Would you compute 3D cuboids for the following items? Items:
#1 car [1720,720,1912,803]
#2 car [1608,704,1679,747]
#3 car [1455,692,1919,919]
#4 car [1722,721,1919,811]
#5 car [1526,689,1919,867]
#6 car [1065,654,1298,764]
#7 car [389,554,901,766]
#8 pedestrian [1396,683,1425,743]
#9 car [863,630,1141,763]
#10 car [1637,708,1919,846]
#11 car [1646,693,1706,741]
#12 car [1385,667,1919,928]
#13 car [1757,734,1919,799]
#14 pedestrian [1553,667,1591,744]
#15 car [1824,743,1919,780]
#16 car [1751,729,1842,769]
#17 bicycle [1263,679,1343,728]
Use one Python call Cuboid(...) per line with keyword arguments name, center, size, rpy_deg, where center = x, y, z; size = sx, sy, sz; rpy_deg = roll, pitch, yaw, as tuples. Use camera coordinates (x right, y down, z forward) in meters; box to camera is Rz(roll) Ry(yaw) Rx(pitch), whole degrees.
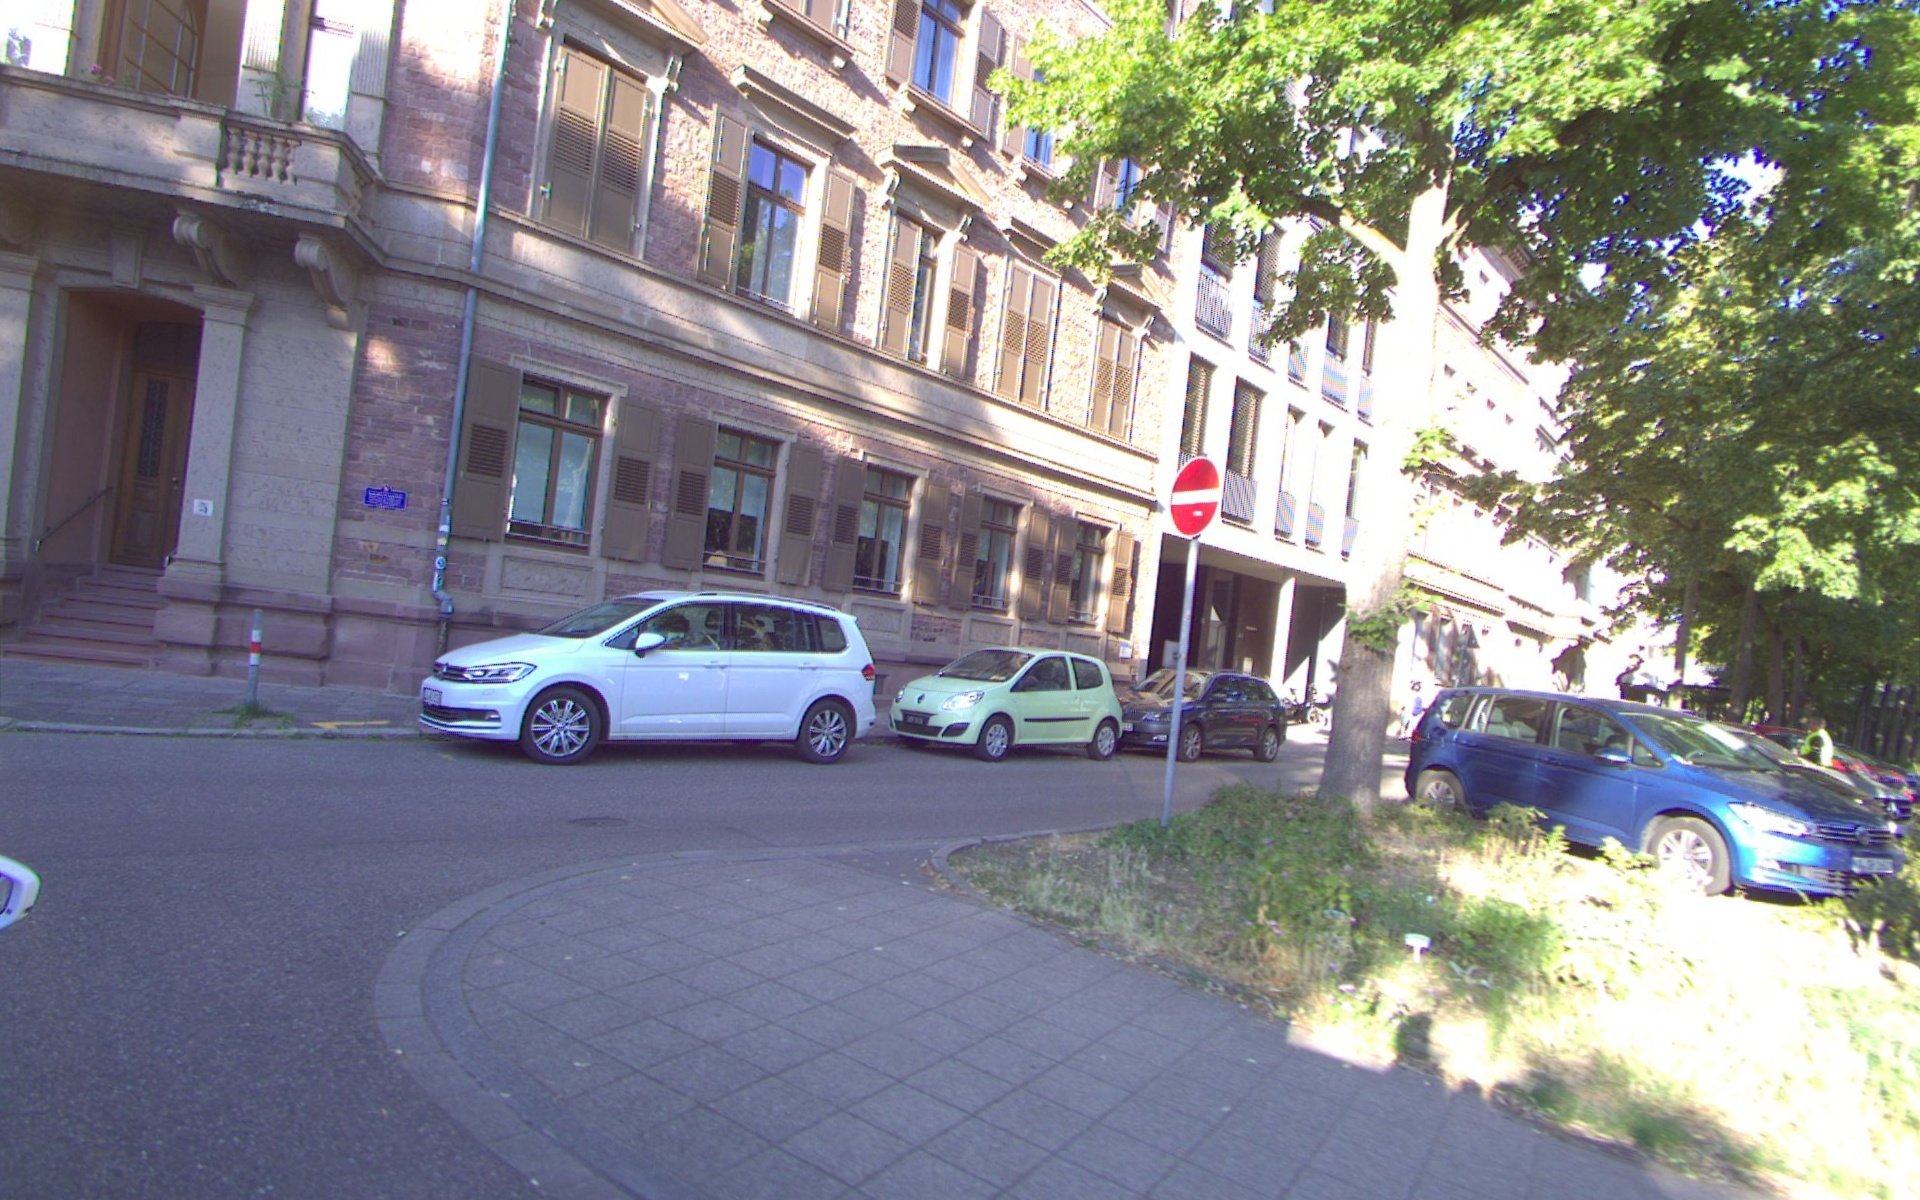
Cuboid(name="car", center=(26.661, 4.980, 31.555), size=(1.780, 1.715, 4.273), rpy_deg=(8, -1, -11))
Cuboid(name="car", center=(31.576, 5.793, 46.428), size=(1.973, 1.586, 4.591), rpy_deg=(7, -1, 42))
Cuboid(name="car", center=(8.595, 2.294, 12.306), size=(1.900, 1.654, 4.539), rpy_deg=(8, -1, -14))
Cuboid(name="car", center=(22.647, 4.280, 26.162), size=(1.780, 1.505, 4.273), rpy_deg=(8, -1, -11))
Cuboid(name="car", center=(10.574, 2.337, 14.070), size=(1.900, 1.505, 4.539), rpy_deg=(8, -1, -14))
Cuboid(name="car", center=(3.793, 1.853, 16.813), size=(4.139, 1.506, 1.722), rpy_deg=(9, -4, -44))
Cuboid(name="car", center=(-2.945, 0.692, 10.137), size=(4.472, 1.668, 1.853), rpy_deg=(9, -4, -44))
Cuboid(name="pedestrian", center=(13.255, 3.328, 29.608), size=(0.522, 1.694, 0.425), rpy_deg=(7, 0, 39))
Cuboid(name="car", center=(0.680, 1.364, 13.885), size=(1.721, 1.506, 3.705), rpy_deg=(3, -4, 44))
Cuboid(name="car", center=(15.923, 3.323, 19.636), size=(1.895, 1.742, 4.549), rpy_deg=(8, -1, -5))
Cuboid(name="car", center=(39.024, 6.412, 54.797), size=(1.973, 2.198, 4.591), rpy_deg=(7, -1, 42))
Cuboid(name="car", center=(6.571, 1.732, 10.053), size=(1.716, 1.706, 4.407), rpy_deg=(7, -2, -17))
Cuboid(name="car", center=(28.837, 5.397, 32.730), size=(1.781, 1.294, 4.270), rpy_deg=(8, -1, -14))
Cuboid(name="pedestrian", center=(24.860, 4.271, 40.882), size=(0.908, 2.983, 0.697), rpy_deg=(7, 0, 42))
Cuboid(name="car", center=(52.438, 9.268, 57.699), size=(1.721, 1.294, 3.988), rpy_deg=(8, -1, -15))
Cuboid(name="car", center=(53.050, 9.434, 63.866), size=(1.729, 1.788, 3.971), rpy_deg=(8, -1, -28))
Cuboid(name="bicycle", center=(9.796, 2.961, 28.762), size=(2.065, 1.130, 0.680), rpy_deg=(7, -1, -17))
